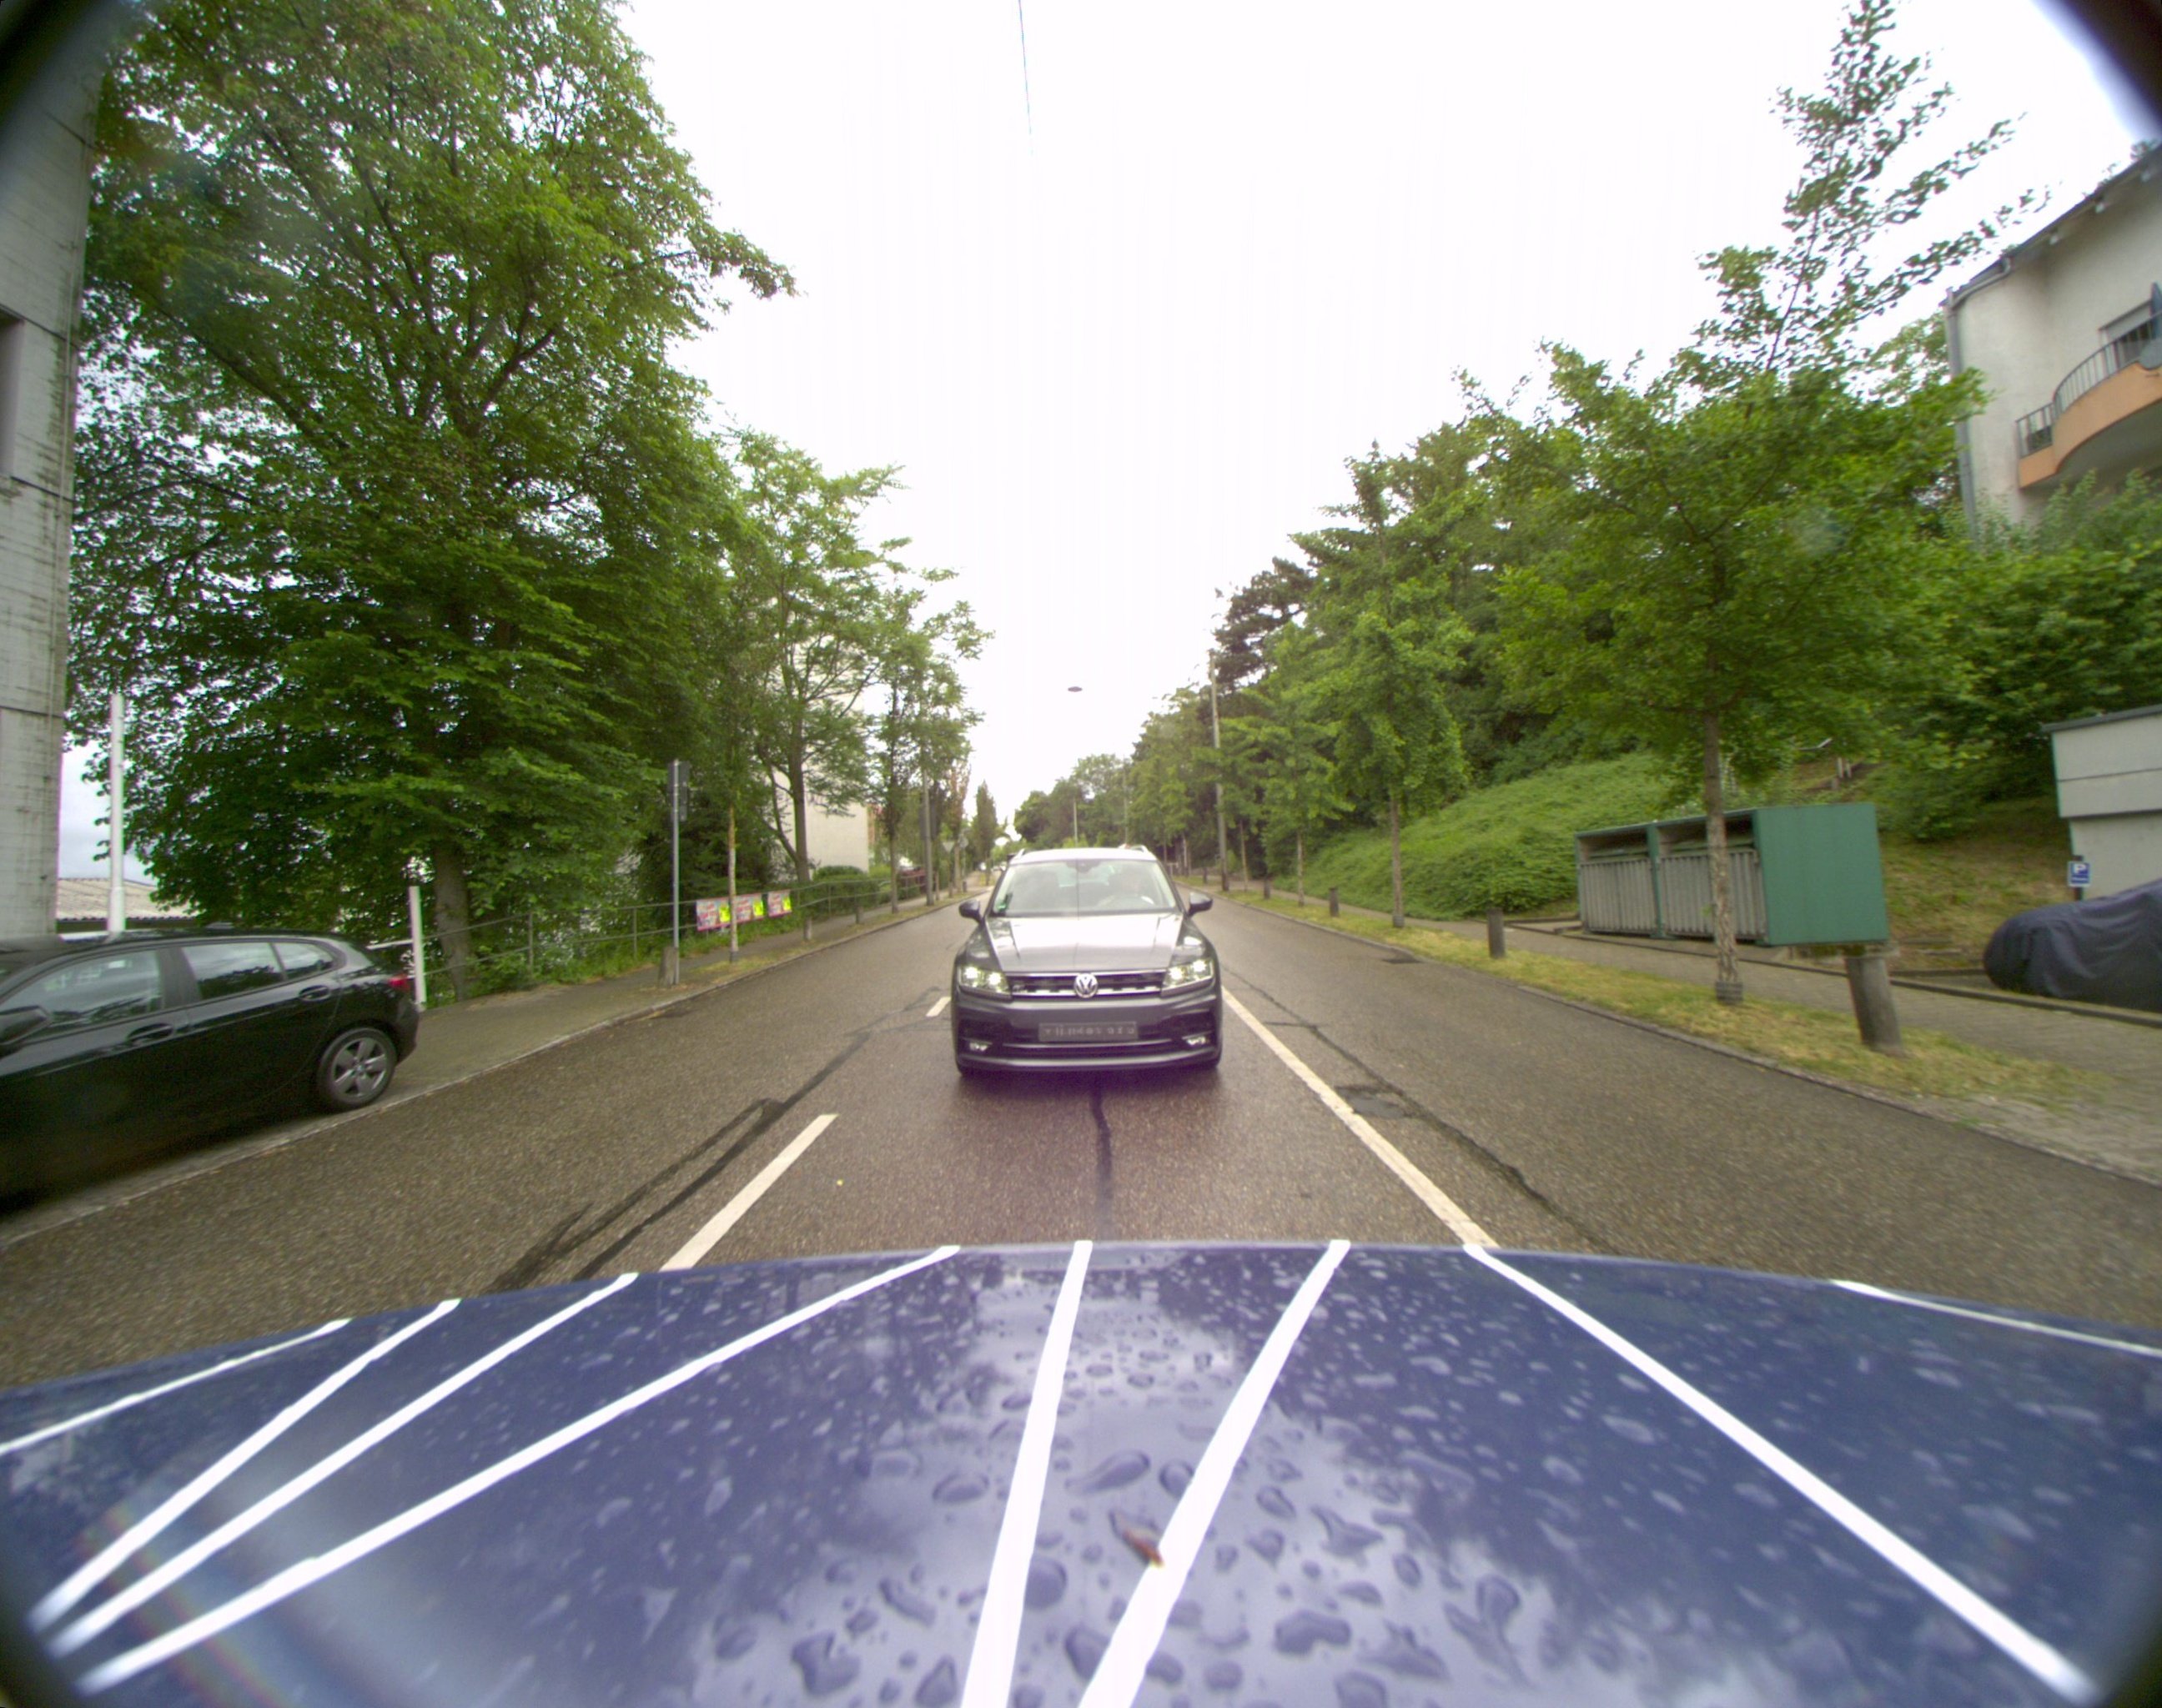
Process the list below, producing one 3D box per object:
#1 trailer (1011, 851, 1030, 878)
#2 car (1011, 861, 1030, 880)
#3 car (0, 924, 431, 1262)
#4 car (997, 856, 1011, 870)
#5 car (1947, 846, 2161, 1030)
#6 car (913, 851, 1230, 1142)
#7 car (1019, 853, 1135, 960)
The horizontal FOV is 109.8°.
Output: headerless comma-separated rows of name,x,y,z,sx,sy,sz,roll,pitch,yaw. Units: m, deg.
trailer,-6.205,1.033,77.471,1.771,2.610,3.031,-2,1,-5
car,-5.900,1.596,74.236,1.737,1.610,3.473,-2,1,-6
car,-6.277,1.324,4.148,1.843,1.436,4.155,-2,0,0
car,-11.879,1.333,117.409,2.000,2.002,3.997,-2,1,-7
car,9.660,0.704,5.694,1.856,1.483,3.865,2,0,-1
car,-0.027,0.827,6.530,1.786,1.631,4.200,-2,0,1
car,-0.039,0.848,14.304,1.786,1.631,4.200,-2,0,1
